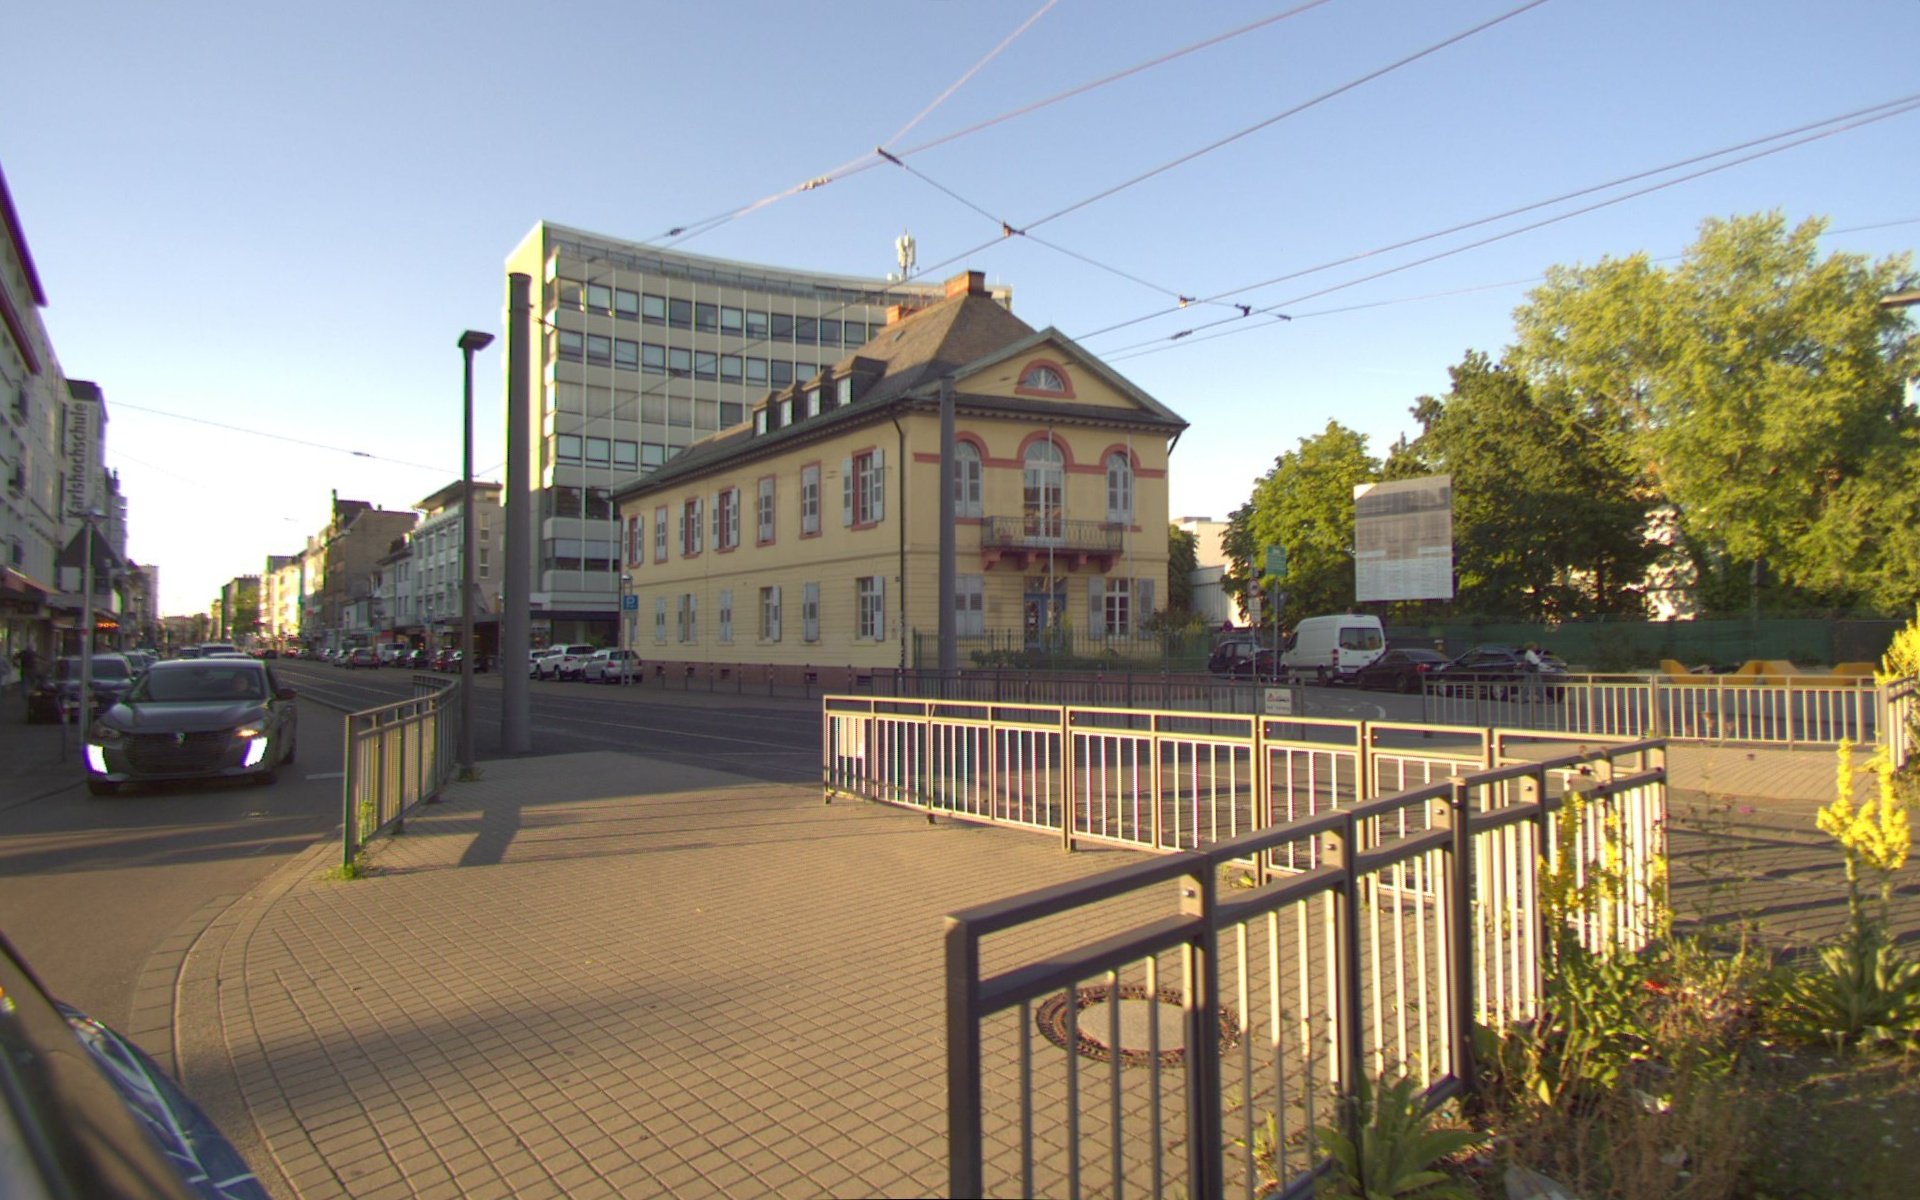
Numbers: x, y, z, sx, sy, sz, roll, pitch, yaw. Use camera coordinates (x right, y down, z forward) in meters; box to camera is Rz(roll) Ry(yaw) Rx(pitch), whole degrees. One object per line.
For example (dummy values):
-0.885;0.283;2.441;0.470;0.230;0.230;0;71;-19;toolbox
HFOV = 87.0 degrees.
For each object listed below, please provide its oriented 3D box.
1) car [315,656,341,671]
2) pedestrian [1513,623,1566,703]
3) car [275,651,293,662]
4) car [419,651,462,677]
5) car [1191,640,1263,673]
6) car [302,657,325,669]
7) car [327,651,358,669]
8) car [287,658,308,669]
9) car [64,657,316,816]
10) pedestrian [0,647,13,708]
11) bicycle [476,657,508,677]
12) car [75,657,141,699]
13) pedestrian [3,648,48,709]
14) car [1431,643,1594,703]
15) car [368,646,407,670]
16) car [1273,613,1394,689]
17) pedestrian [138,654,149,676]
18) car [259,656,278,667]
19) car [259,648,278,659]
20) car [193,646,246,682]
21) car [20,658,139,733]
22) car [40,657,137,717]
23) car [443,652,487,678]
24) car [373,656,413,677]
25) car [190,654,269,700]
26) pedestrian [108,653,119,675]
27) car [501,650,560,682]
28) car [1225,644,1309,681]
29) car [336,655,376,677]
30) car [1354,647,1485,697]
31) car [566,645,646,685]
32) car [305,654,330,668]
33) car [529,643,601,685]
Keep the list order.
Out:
-70.468;7.050;112.754;1.968;1.556;4.888;1;-3;-38;car
14.090;1.522;24.638;0.717;1.907;0.767;0;-3;-15;pedestrian
-104.203;8.679;155.992;1.968;1.564;4.007;2;-3;-39;car
-34.327;4.224;66.852;1.664;1.523;4.223;7;-7;-38;car
12.810;2.732;48.793;1.969;1.497;4.099;0;-3;-7;car
-82.688;8.055;129.392;1.968;1.564;4.007;2;-4;-39;car
-51.608;5.004;84.528;1.782;1.524;4.043;2;-4;-37;car
-90.654;8.678;138.459;1.968;1.564;4.214;2;-4;-39;car
-9.206;1.496;12.484;1.703;1.533;4.347;0;-3;-27;car
-28.008;2.245;29.287;0.719;1.755;0.865;3;-5;-38;pedestrian
-33.474;4.801;72.417;1.943;1.437;0.835;2;-4;-40;bicycle
-32.618;2.971;38.827;1.713;1.524;4.311;3;-5;-38;car
-27.100;2.259;29.368;0.816;1.732;0.844;3;-5;-38;pedestrian
15.220;1.986;28.159;1.969;1.497;4.005;0;-3;-7;car
-48.637;4.897;85.916;1.930;1.992;5.171;2;-4;-39;car
14.002;1.915;38.356;2.066;2.650;5.432;0;-3;-6;car
-64.938;5.166;80.478;0.601;1.767;0.606;2;-4;-39;pedestrian
-101.624;9.094;148.740;1.968;1.564;4.007;2;-4;-39;car
-96.970;7.530;141.914;1.968;1.564;4.008;1;-3;-38;car
-39.110;3.374;53.447;1.968;1.830;4.006;2;-4;-40;car
-19.881;2.099;23.012;1.713;1.524;4.694;3;-5;-38;car
-23.725;2.332;27.675;1.762;1.524;4.059;3;-5;-38;car
-30.943;4.052;63.217;1.664;1.523;4.223;1;-3;-38;car
-44.602;5.213;79.535;1.968;1.477;4.566;1;-3;-39;car
-25.391;2.642;35.113;1.968;1.470;4.007;2;-4;-39;car
-77.166;5.844;92.289;0.701;2.029;0.826;2;-4;-39;pedestrian
-22.202;3.395;52.289;1.788;1.524;4.441;2;-4;-37;car
13.328;2.705;44.227;1.969;1.497;4.099;0;-3;-7;car
-44.491;4.829;74.517;1.714;1.524;4.039;2;-4;-42;car
14.761;2.297;32.785;1.969;1.497;4.099;0;-3;-7;car
-15.196;2.763;43.345;1.790;1.630;4.220;2;-4;-41;car
-74.347;7.016;117.054;1.884;1.556;4.561;2;-4;-39;car
-18.496;2.961;47.327;1.789;1.799;4.505;-1;-2;-39;car
